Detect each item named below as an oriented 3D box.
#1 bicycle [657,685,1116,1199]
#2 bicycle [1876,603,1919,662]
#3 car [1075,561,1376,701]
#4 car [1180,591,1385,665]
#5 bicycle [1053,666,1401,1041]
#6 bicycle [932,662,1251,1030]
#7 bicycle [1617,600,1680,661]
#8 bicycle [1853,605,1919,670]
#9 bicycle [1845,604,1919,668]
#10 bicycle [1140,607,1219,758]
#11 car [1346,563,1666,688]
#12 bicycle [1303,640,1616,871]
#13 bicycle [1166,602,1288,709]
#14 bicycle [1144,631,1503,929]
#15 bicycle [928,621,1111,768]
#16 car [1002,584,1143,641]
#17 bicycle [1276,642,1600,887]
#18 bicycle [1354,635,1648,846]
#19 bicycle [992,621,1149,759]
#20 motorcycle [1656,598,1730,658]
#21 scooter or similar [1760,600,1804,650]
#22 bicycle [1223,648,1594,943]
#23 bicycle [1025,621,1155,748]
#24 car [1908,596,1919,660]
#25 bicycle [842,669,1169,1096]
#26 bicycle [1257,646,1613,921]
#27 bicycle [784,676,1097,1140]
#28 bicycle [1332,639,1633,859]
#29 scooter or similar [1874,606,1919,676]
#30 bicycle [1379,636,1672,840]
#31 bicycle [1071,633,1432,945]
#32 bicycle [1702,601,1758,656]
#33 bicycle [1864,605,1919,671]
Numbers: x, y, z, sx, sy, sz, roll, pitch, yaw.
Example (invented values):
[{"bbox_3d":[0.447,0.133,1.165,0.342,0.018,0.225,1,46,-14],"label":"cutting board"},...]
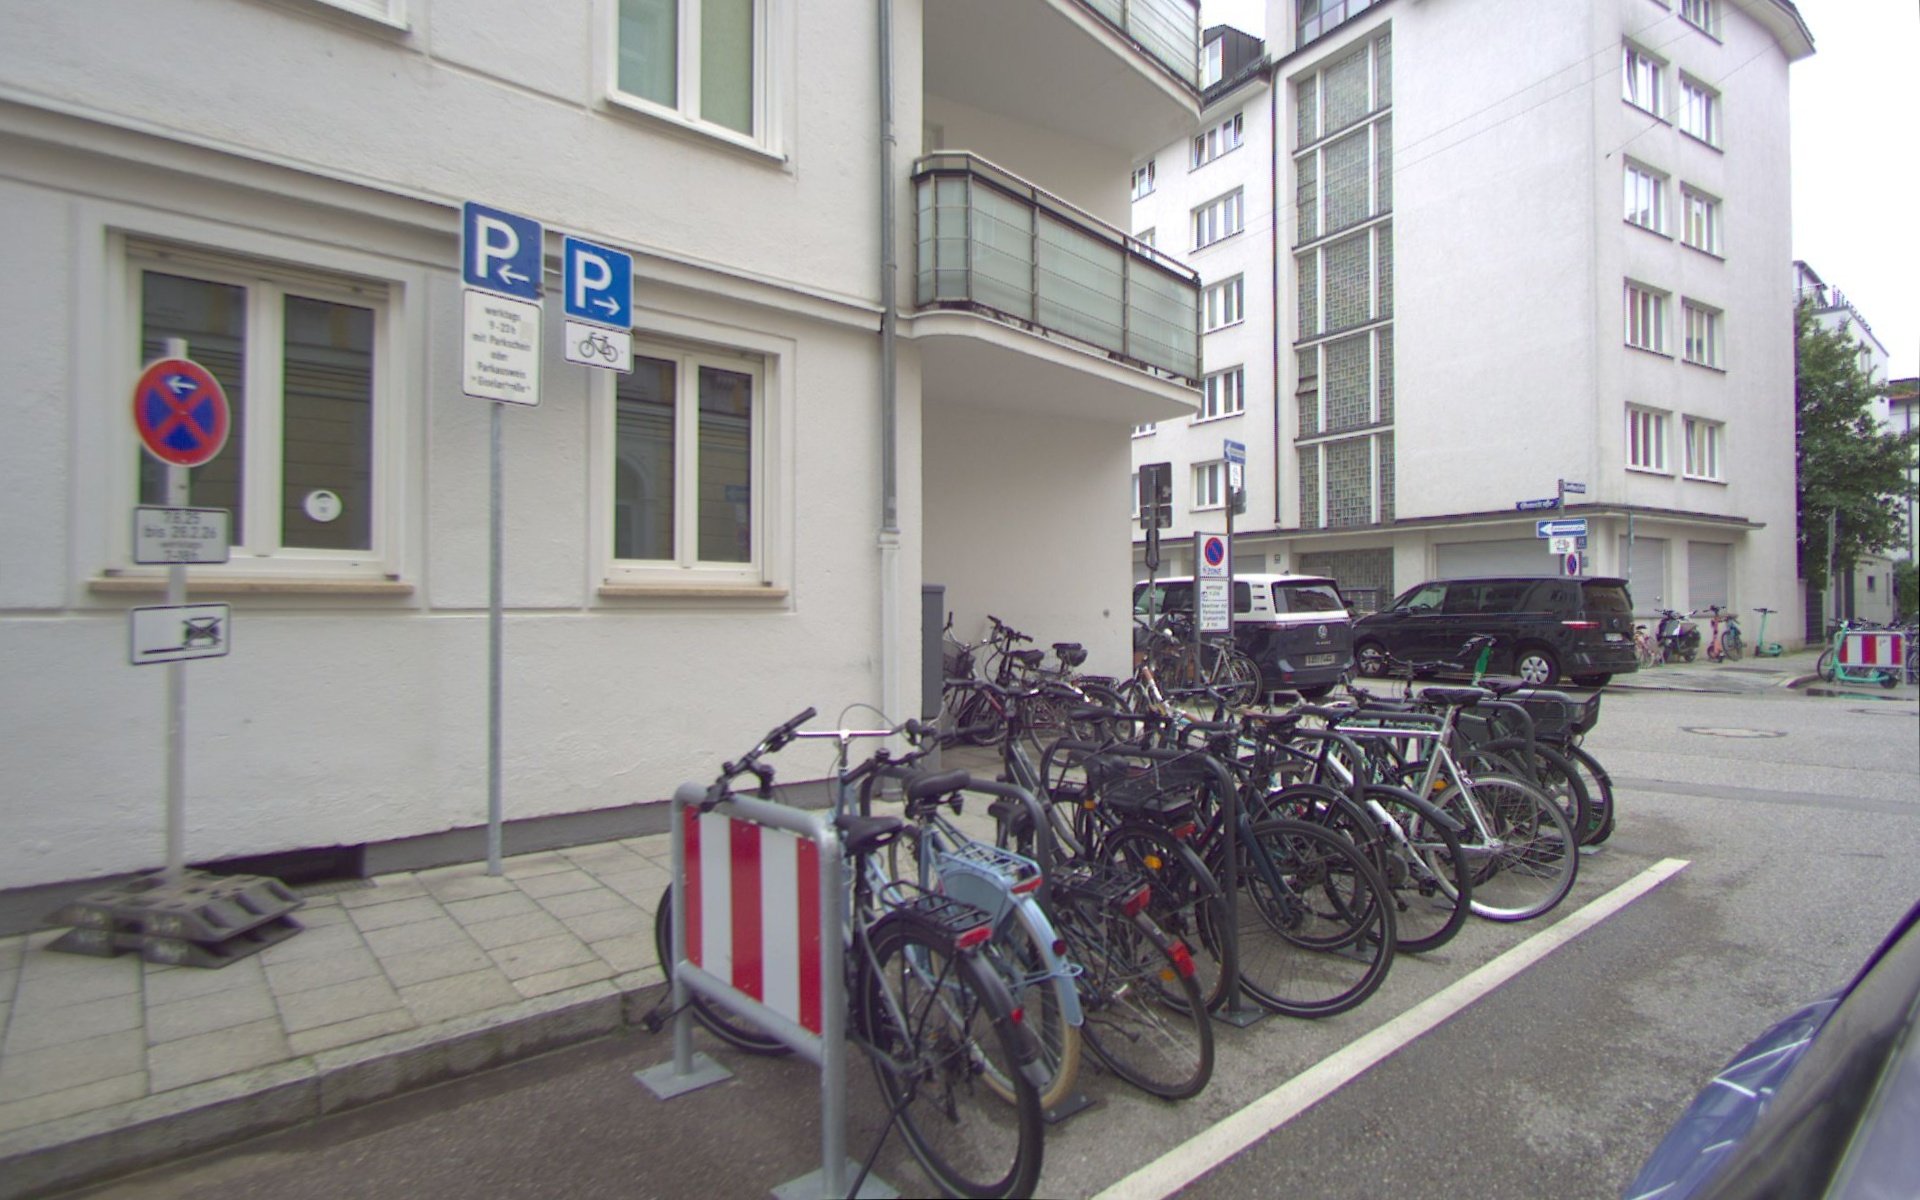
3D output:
[{"bbox_3d":[-0.332,0.863,2.839,0.353,1.056,1.706,0,2,-40],"label":"bicycle"},{"bbox_3d":[20.551,0.685,21.466,0.519,1.229,1.608,0,0,-38],"label":"bicycle"},{"bbox_3d":[4.047,0.411,16.229,1.896,1.896,4.623,0,0,-32],"label":"car"},{"bbox_3d":[6.979,0.547,22.338,1.707,1.484,4.216,0,0,-32],"label":"car"},{"bbox_3d":[0.948,0.857,3.938,0.353,1.056,1.444,0,2,-32],"label":"bicycle"},{"bbox_3d":[0.436,0.848,4.032,0.353,1.056,1.523,0,2,-32],"label":"bicycle"},{"bbox_3d":[14.402,0.624,21.158,1.578,1.229,0.529,0,0,-33],"label":"bicycle"},{"bbox_3d":[18.355,0.709,19.530,0.519,1.229,1.608,0,0,-38],"label":"bicycle"},{"bbox_3d":[18.640,0.703,20.050,0.519,1.229,1.608,0,0,-38],"label":"bicycle"},{"bbox_3d":[2.042,0.706,9.311,0.395,1.219,1.494,1,2,24],"label":"bicycle"},{"bbox_3d":[9.458,0.388,17.953,1.896,1.915,4.685,1,0,-32],"label":"car"},{"bbox_3d":[2.968,0.861,6.175,0.372,1.175,1.698,0,0,-41],"label":"bicycle"},{"bbox_3d":[3.390,0.669,12.985,0.463,1.229,1.611,0,2,-32],"label":"bicycle"},{"bbox_3d":[1.670,0.759,4.903,0.372,1.175,1.664,0,0,-41],"label":"bicycle"},{"bbox_3d":[0.470,0.743,8.357,1.489,1.056,0.395,2,2,32],"label":"bicycle"},{"bbox_3d":[3.085,0.317,28.519,1.707,1.484,4.216,0,0,-32],"label":"car"},{"bbox_3d":[2.698,0.864,5.888,0.372,1.175,1.698,0,0,-41],"label":"bicycle"},{"bbox_3d":[3.472,0.843,6.640,0.308,1.175,1.698,0,0,-41],"label":"bicycle"},{"bbox_3d":[0.938,0.742,8.710,1.285,1.056,0.395,2,2,32],"label":"bicycle"},{"bbox_3d":[16.009,0.584,22.087,1.898,1.248,0.661,0,0,-33],"label":"motorcycle"},{"bbox_3d":[20.221,0.600,24.897,1.464,1.181,0.407,0,0,-33],"label":"scooter or similar"},{"bbox_3d":[2.148,0.866,5.060,0.372,1.175,1.698,0,0,-41],"label":"bicycle"},{"bbox_3d":[1.189,0.751,9.338,1.119,1.056,0.395,2,2,32],"label":"bicycle"},{"bbox_3d":[22.934,0.605,22.979,3.930,1.416,1.652,0,0,-41],"label":"car"},{"bbox_3d":[0.065,0.855,3.631,0.316,1.056,1.594,0,2,-32],"label":"bicycle"},{"bbox_3d":[2.417,0.863,5.349,0.372,1.175,1.698,0,0,-41],"label":"bicycle"},{"bbox_3d":[-0.147,0.857,3.331,0.323,1.056,1.442,0,2,-32],"label":"bicycle"},{"bbox_3d":[3.234,0.864,6.420,0.308,1.175,1.698,0,0,-41],"label":"bicycle"},{"bbox_3d":[17.130,0.725,17.937,0.338,1.229,1.341,0,0,-38],"label":"scooter or similar"},{"bbox_3d":[3.779,0.859,6.894,0.411,1.175,1.698,0,0,-41],"label":"bicycle"},{"bbox_3d":[1.273,0.766,4.747,0.372,1.175,1.698,0,0,-41],"label":"bicycle"},{"bbox_3d":[17.687,0.631,23.246,1.578,1.229,0.529,0,0,-33],"label":"bicycle"},{"bbox_3d":[18.082,0.714,18.981,0.519,1.229,1.608,0,0,-38],"label":"bicycle"}]
